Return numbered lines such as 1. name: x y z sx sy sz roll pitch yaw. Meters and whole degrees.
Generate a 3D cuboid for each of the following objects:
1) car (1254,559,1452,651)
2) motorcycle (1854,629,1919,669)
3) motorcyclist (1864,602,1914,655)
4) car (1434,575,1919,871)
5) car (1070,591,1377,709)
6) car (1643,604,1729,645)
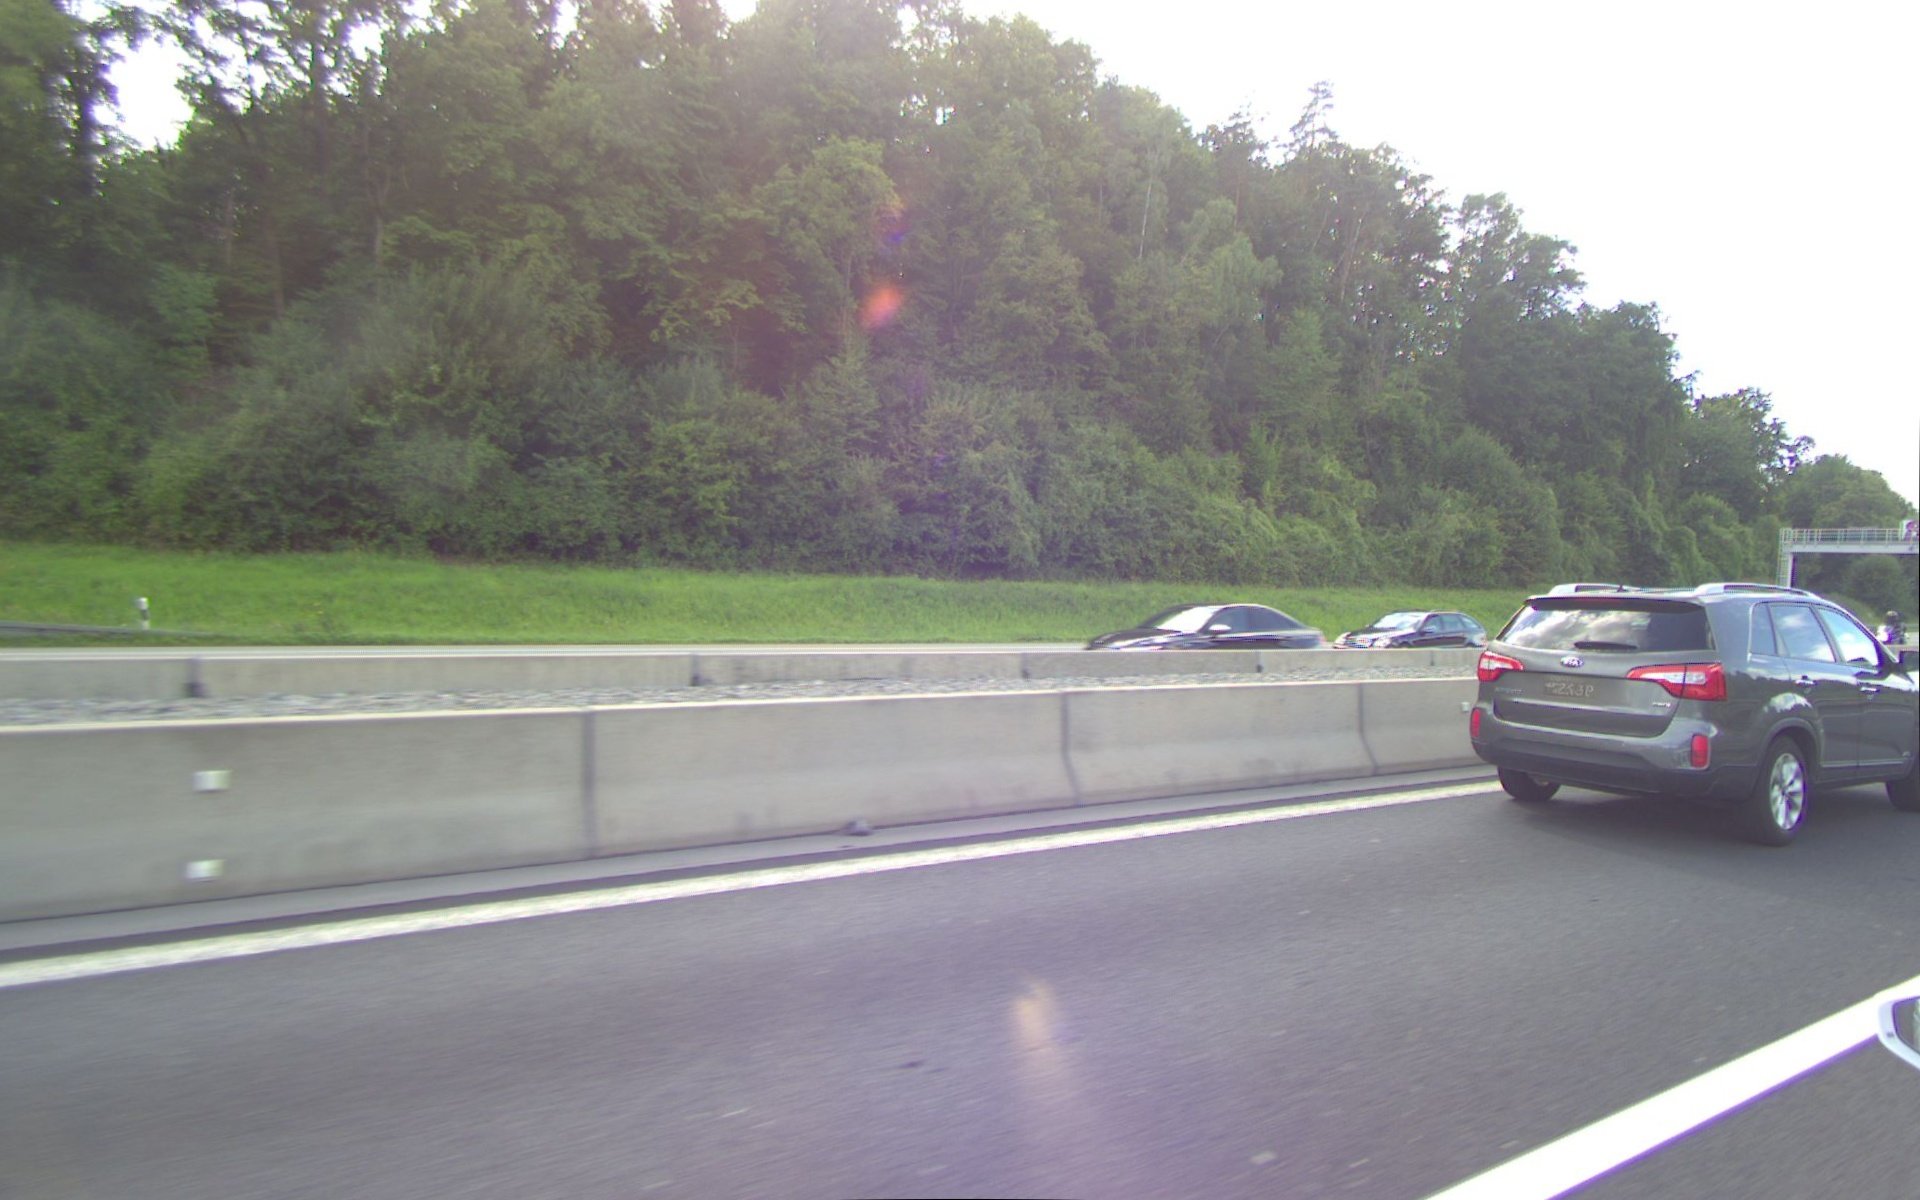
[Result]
1. car: 9.679 0.166 24.673 4.721 2.040 1.984 2 0 -30
2. motorcycle: 29.537 1.549 31.915 2.608 1.204 0.918 1 0 -30
3. motorcyclist: 29.416 0.892 31.814 0.911 1.655 0.891 1 0 -30
4. car: 6.240 0.767 8.045 5.125 1.759 1.809 1 0 -30
5. car: 4.277 0.766 16.146 4.721 1.648 1.984 2 0 -30
6. car: 37.972 1.280 52.518 4.728 2.061 2.014 1 0 -32
